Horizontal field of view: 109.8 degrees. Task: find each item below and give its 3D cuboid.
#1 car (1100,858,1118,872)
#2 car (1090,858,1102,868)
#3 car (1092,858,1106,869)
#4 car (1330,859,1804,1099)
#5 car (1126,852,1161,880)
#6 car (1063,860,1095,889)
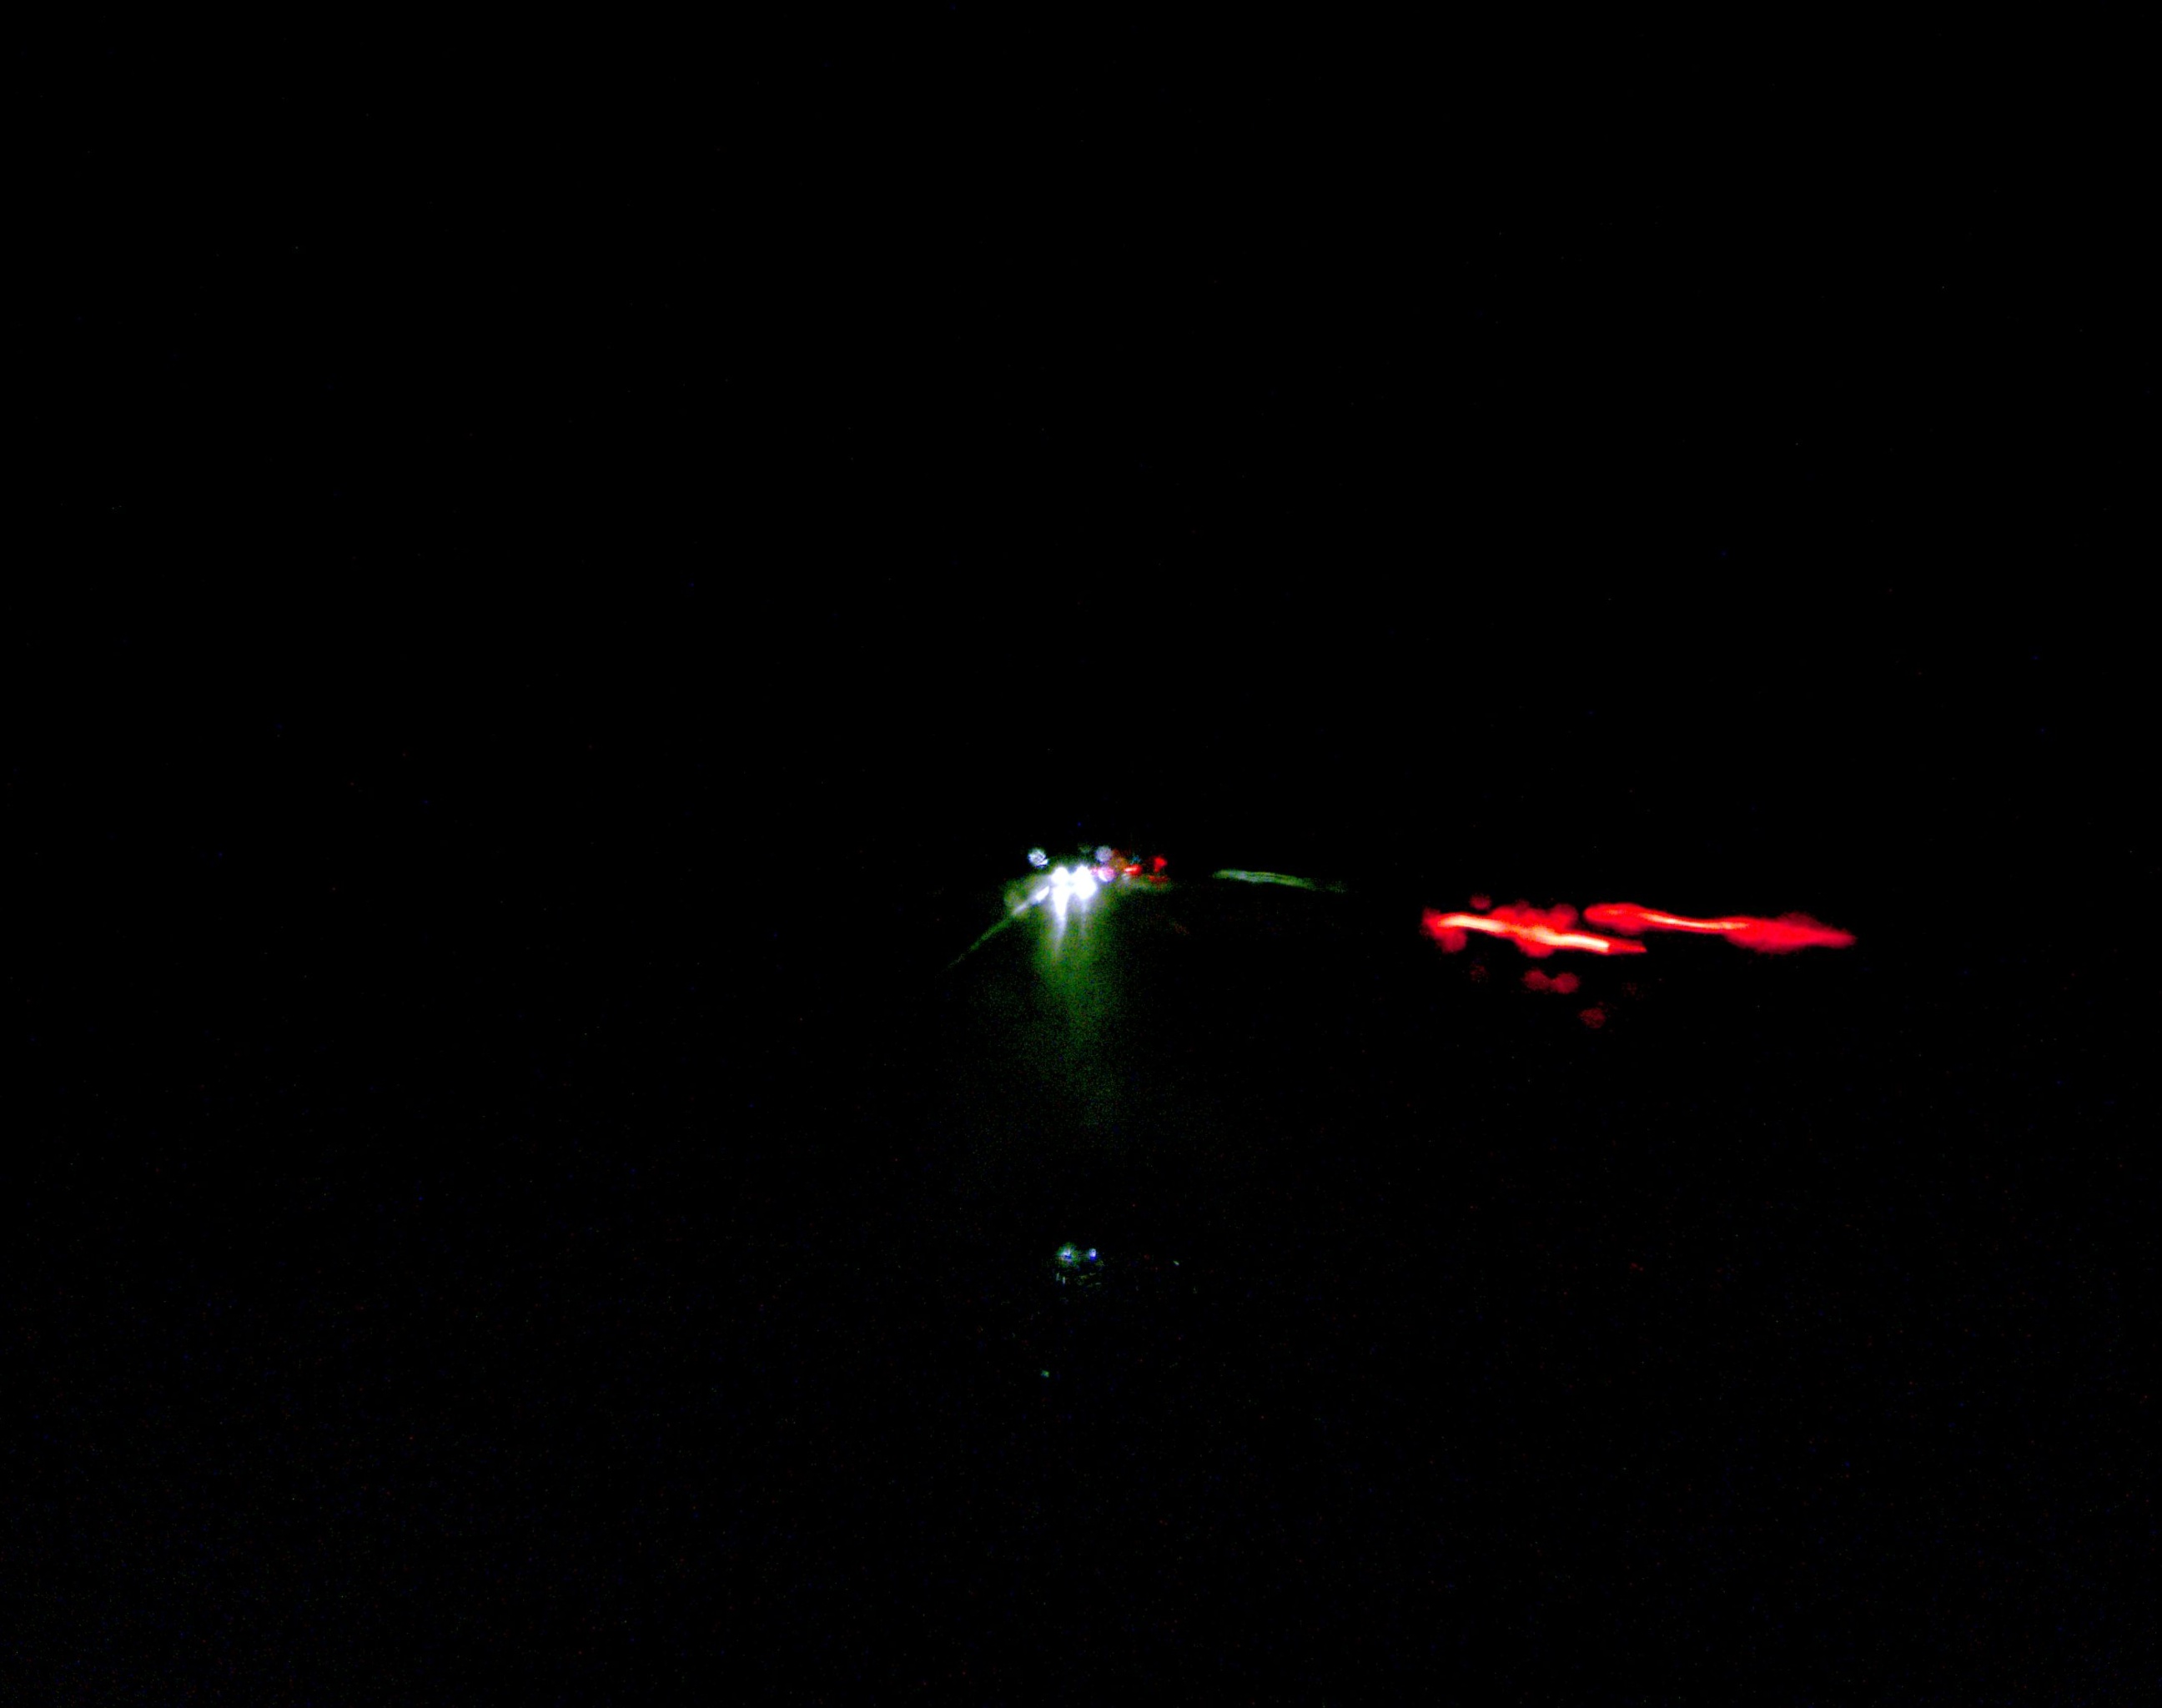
[{"bbox_3d":[3.099,1.212,85.133,1.649,1.417,4.123,-2,0,-2],"label":"car"},{"bbox_3d":[2.481,1.524,128.951,1.813,1.591,4.631,-2,0,-1],"label":"car"},{"bbox_3d":[2.415,1.261,102.200,1.649,1.416,3.659,-2,-1,-2],"label":"car"},{"bbox_3d":[3.607,0.791,6.543,1.720,1.462,3.708,-1,-1,0],"label":"car"},{"bbox_3d":[3.714,0.696,45.505,1.720,1.508,3.878,-3,-1,0],"label":"car"},{"bbox_3d":[-0.074,1.418,54.259,1.998,1.804,4.001,-3,0,3],"label":"car"}]
